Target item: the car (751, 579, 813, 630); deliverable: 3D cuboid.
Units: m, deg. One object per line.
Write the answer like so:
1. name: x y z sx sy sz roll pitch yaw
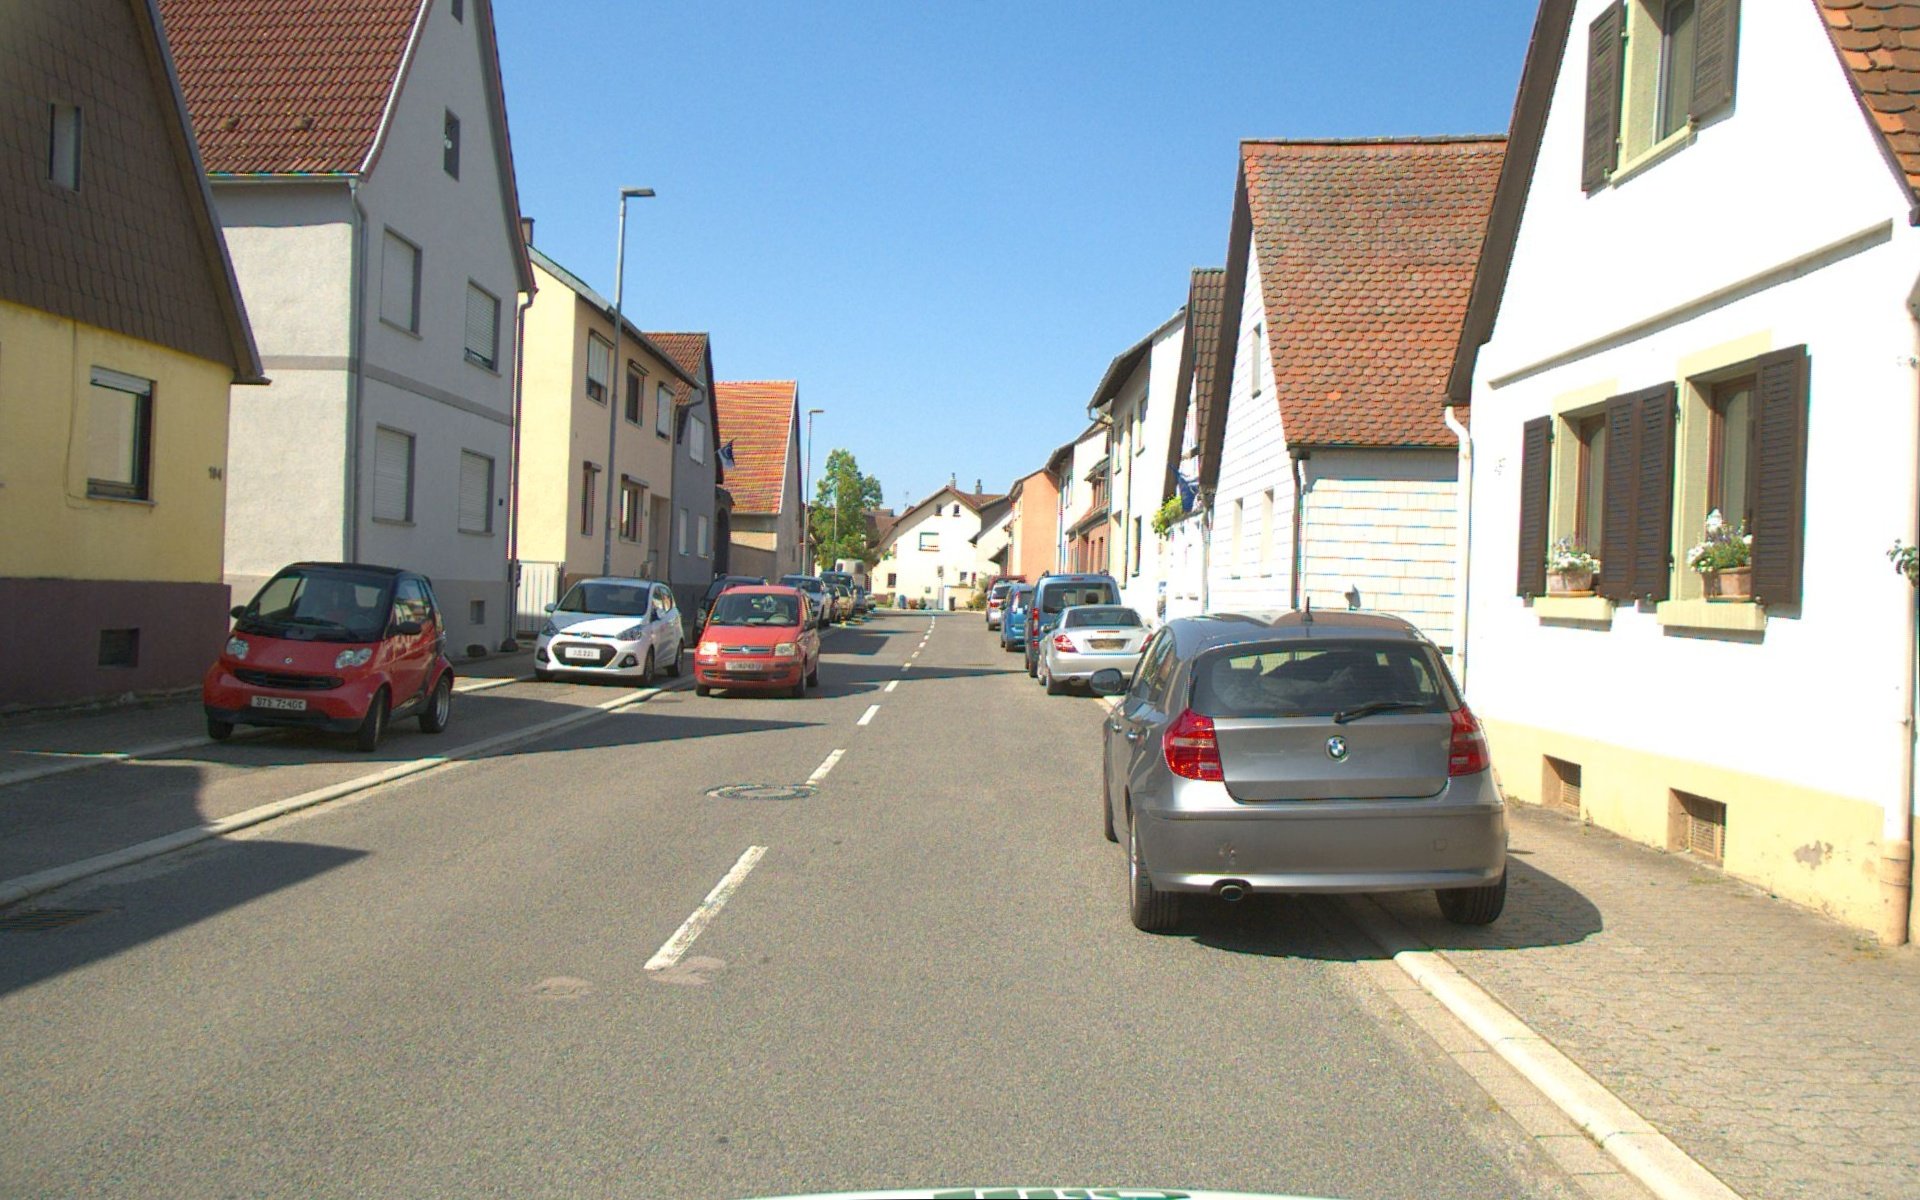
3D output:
1. car: -5.456 0.151 50.956 1.473 1.478 3.509 1 0 0

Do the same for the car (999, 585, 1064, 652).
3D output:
1. car: 1.763 0.434 41.332 1.391 1.541 3.303 3 0 0

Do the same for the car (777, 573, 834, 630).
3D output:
1. car: -5.102 0.049 54.842 1.496 1.743 3.625 3 0 0

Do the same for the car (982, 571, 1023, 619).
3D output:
1. car: 1.835 -0.205 72.176 1.730 2.039 3.450 1 0 1

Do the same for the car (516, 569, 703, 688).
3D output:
1. car: -5.252 0.393 25.332 1.769 1.574 4.404 3 0 1

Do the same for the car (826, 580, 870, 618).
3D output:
1. car: -5.112 -0.047 75.616 1.718 1.653 3.999 1 0 0

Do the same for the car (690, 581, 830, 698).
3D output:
1. car: -2.867 0.541 24.327 1.568 1.515 3.625 3 0 0

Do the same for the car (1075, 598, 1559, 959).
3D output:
1. car: 1.590 0.722 8.672 1.670 1.458 3.889 0 0 0

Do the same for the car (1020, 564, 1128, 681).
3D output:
1. car: 2.019 0.387 30.229 1.616 1.943 3.625 3 0 0

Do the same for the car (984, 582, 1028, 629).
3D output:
1. car: 1.618 0.189 58.938 1.391 1.541 3.303 3 0 0

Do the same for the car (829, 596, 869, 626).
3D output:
1. car: -5.690 0.554 85.173 1.718 1.467 4.000 1 0 1

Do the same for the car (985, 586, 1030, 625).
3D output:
1. car: 1.899 0.227 66.654 1.730 1.458 3.450 1 0 1

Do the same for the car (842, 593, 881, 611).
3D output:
1. car: -7.548 0.147 126.690 1.963 1.311 3.978 2 0 -19

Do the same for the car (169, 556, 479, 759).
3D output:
1. car: -5.603 0.470 14.932 1.520 1.571 2.988 3 0 1

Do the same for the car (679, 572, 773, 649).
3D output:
1. car: -5.388 0.228 38.516 1.586 1.605 3.961 3 0 0

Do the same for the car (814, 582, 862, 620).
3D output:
1. car: -4.996 0.043 68.115 1.718 1.467 3.999 1 0 -1

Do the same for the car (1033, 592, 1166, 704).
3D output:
1. car: 2.067 0.689 25.362 1.670 1.523 3.452 3 0 -1

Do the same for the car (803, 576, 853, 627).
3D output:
1. car: -4.840 0.062 60.816 1.496 1.743 3.625 3 0 0
